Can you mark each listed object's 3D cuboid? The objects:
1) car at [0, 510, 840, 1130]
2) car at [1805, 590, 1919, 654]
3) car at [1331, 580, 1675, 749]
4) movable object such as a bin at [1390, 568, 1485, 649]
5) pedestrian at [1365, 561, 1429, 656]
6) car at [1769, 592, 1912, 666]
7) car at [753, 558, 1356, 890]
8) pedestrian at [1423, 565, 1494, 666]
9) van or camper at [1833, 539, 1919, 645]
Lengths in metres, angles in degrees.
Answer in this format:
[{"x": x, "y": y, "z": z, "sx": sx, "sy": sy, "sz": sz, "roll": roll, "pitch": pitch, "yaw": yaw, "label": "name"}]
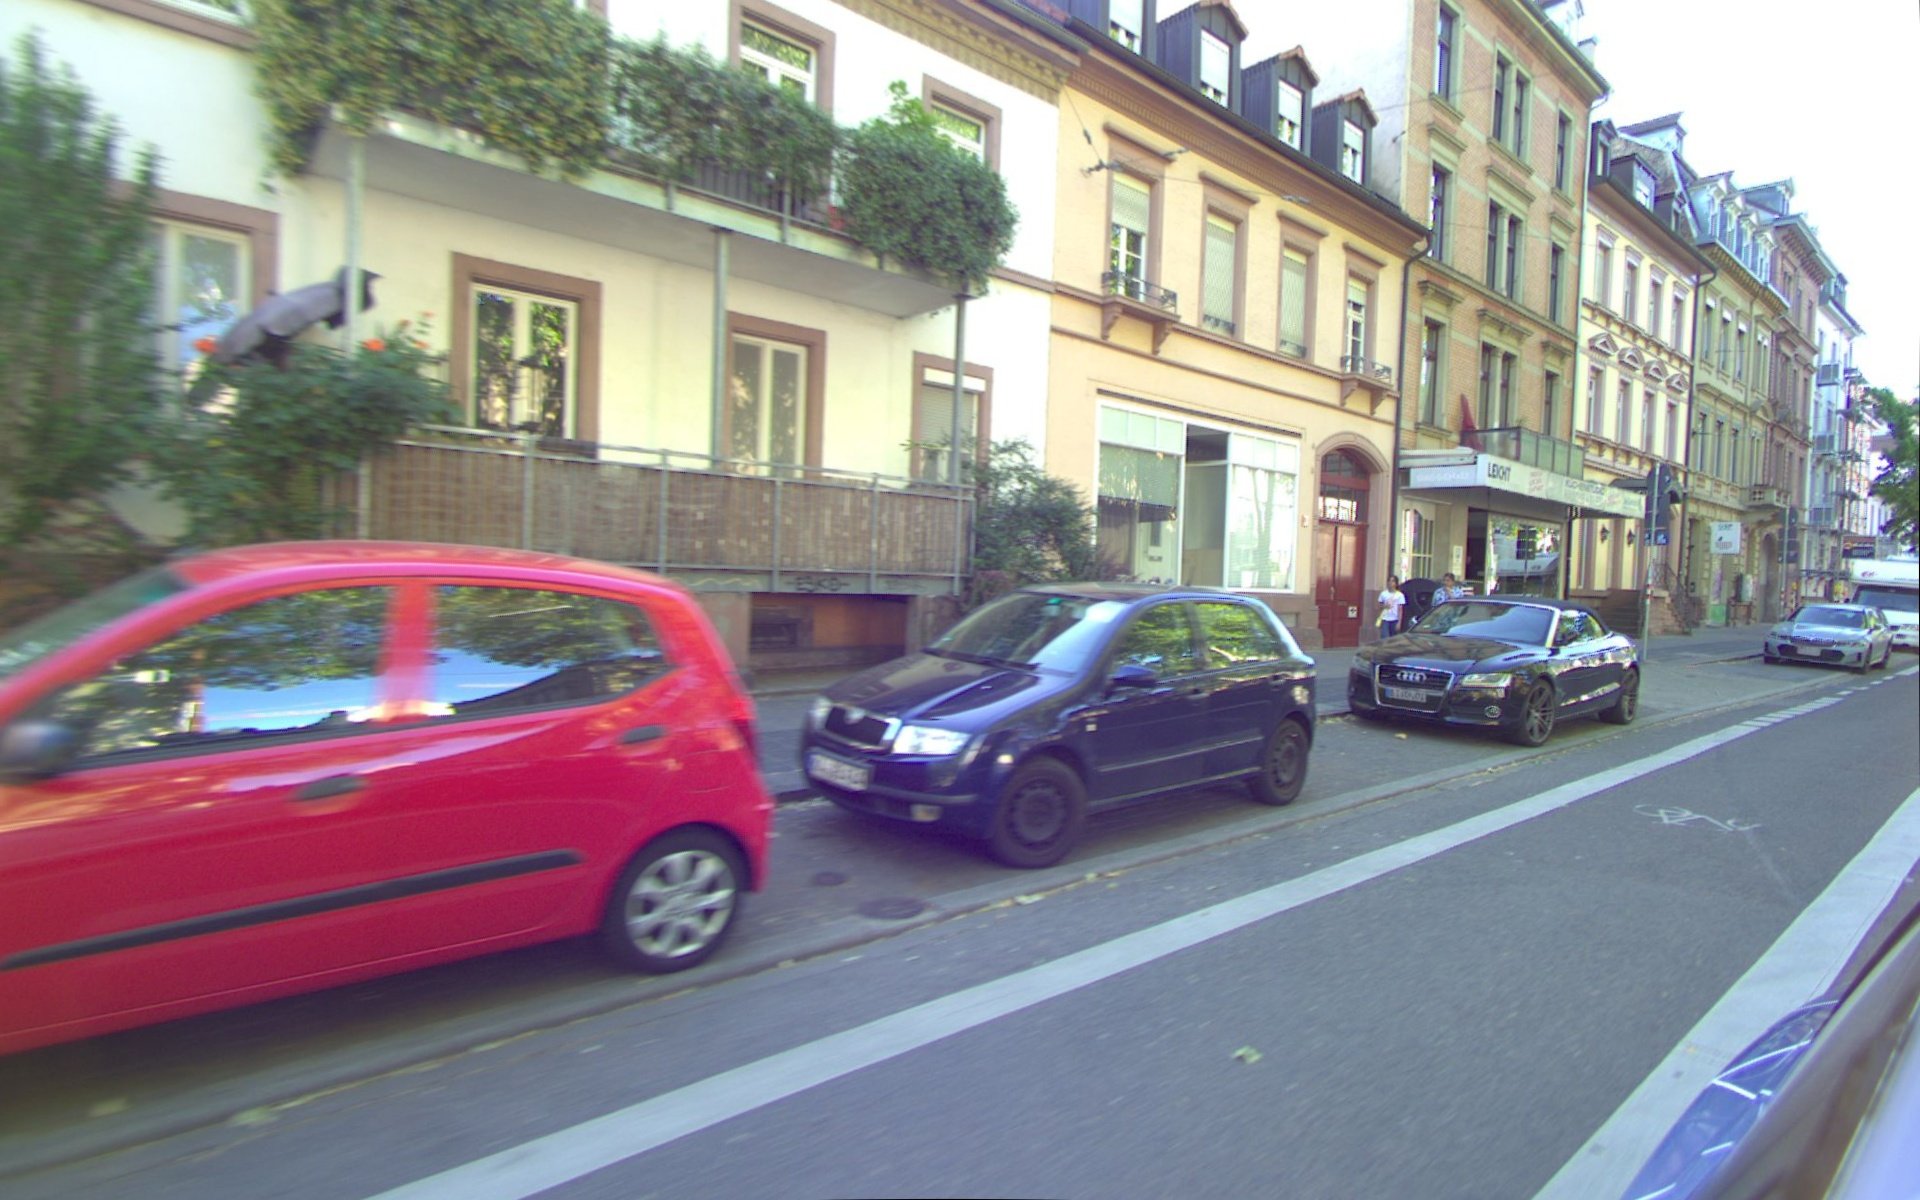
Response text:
[{"x": -2.378, "y": 0.505, "z": 3.611, "sx": 3.511, "sy": 1.565, "sz": 1.639, "roll": 0, "pitch": 3, "yaw": -39, "label": "car"}, {"x": 24.287, "y": 0.550, "z": 27.162, "sx": 3.957, "sy": 1.450, "sz": 1.650, "roll": 0, "pitch": 6, "yaw": -39, "label": "car"}, {"x": 6.049, "y": 0.561, "z": 11.046, "sx": 4.414, "sy": 1.409, "sz": 1.698, "roll": 0, "pitch": 4, "yaw": -39, "label": "car"}, {"x": 9.623, "y": 0.146, "z": 20.387, "sx": 1.263, "sy": 1.539, "sz": 1.296, "roll": 0, "pitch": 2, "yaw": -40, "label": "movable object such as a bin"}, {"x": 7.144, "y": 0.126, "z": 16.545, "sx": 0.772, "sy": 1.501, "sz": 0.659, "roll": 0, "pitch": 2, "yaw": -41, "label": "pedestrian"}, {"x": 20.436, "y": 0.592, "z": 23.419, "sx": 4.583, "sy": 1.452, "sz": 1.814, "roll": 0, "pitch": 4, "yaw": -41, "label": "car"}, {"x": 0.782, "y": 0.543, "z": 6.525, "sx": 3.800, "sy": 1.474, "sz": 1.655, "roll": 0, "pitch": 4, "yaw": -41, "label": "car"}, {"x": 7.859, "y": 0.231, "z": 15.943, "sx": 0.851, "sy": 1.523, "sz": 0.661, "roll": 0, "pitch": 3, "yaw": -41, "label": "pedestrian"}, {"x": 31.005, "y": -0.257, "z": 32.883, "sx": 7.742, "sy": 3.006, "sz": 2.485, "roll": 0, "pitch": 6, "yaw": -39, "label": "van or camper"}]
